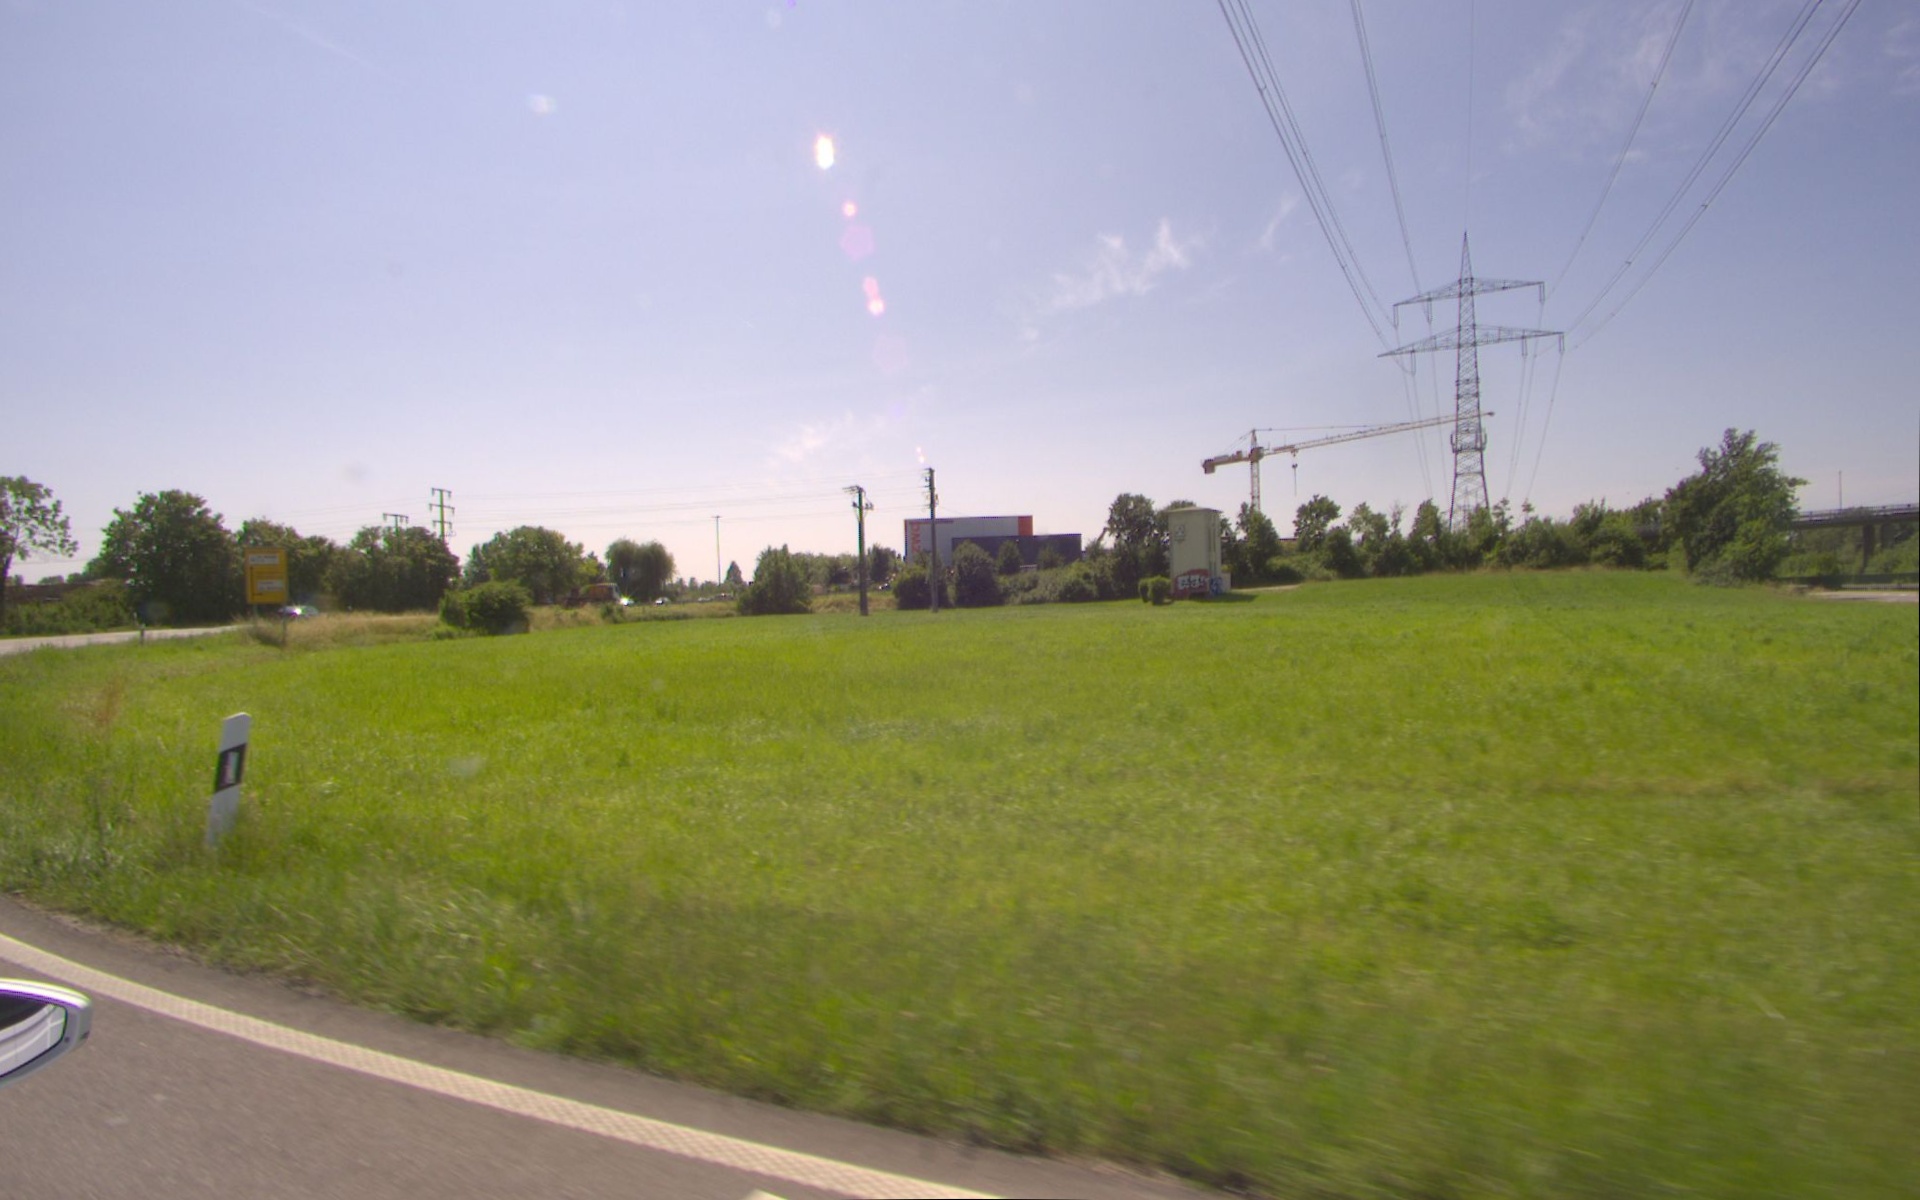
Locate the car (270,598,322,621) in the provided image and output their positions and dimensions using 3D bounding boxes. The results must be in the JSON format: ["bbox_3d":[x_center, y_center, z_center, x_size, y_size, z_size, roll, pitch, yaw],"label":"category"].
[{"bbox_3d":[-43.283,0.628,65.364,1.693,1.439,3.739,-1,0,-15],"label":"car"}]

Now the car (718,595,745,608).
[{"bbox_3d":[-35.947,0.279,157.669,3.922,2.040,2.000,0,-1,-1],"label":"car"}]

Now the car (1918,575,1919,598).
[{"bbox_3d":[74.602,-1.031,76.081,1.699,1.747,3.981,-1,1,30],"label":"car"}]

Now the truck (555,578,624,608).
[{"bbox_3d":[-42.724,-0.753,115.732,3.051,3.177,8.797,0,-1,14],"label":"truck"}]
